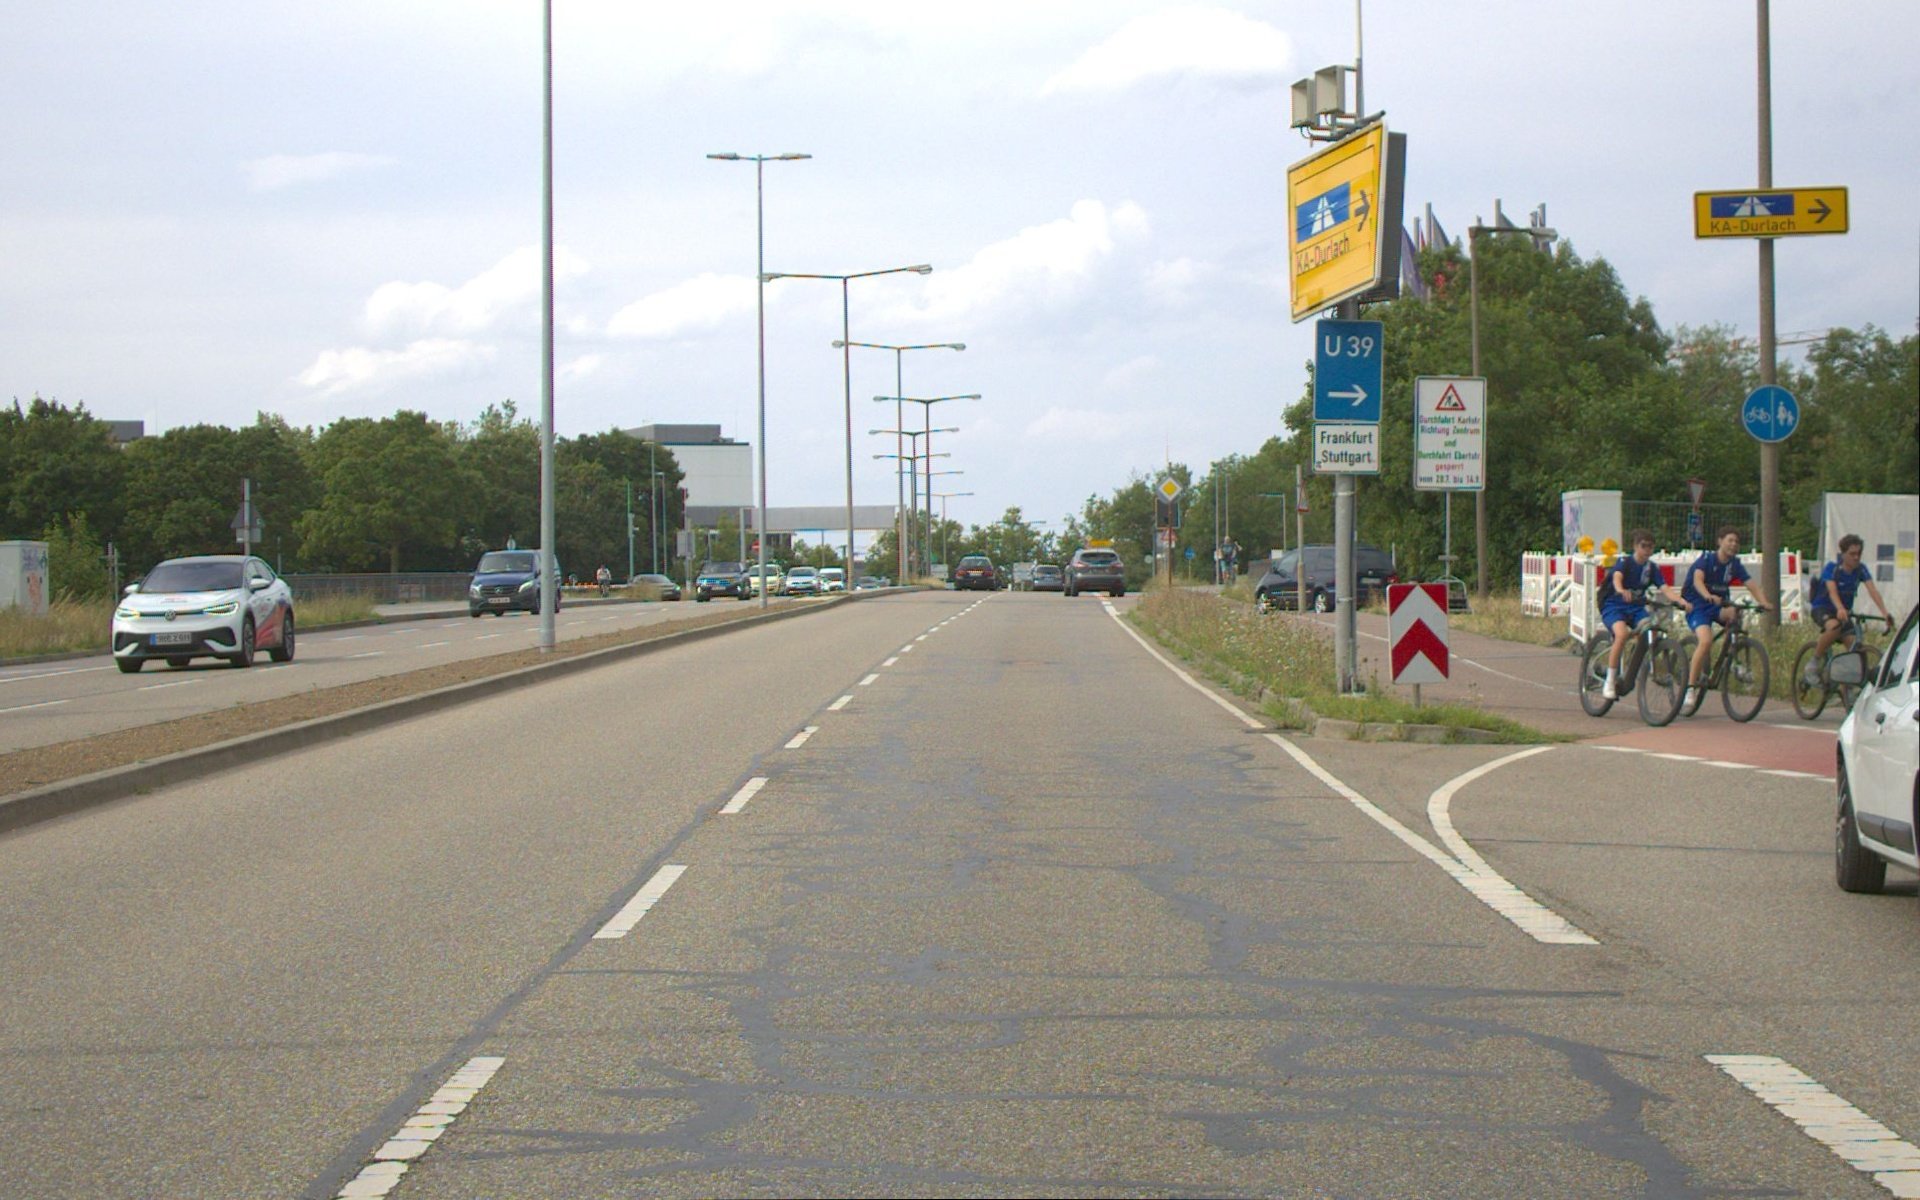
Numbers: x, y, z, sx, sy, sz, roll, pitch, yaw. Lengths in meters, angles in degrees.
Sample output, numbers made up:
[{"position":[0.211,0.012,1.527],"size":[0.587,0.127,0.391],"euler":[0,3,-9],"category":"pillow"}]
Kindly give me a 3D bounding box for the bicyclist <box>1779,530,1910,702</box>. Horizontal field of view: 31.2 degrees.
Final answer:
[{"position":[7.762,0.136,30.196],"size":[0.741,1.482,0.958],"euler":[1,0,-13],"category":"bicyclist"}]

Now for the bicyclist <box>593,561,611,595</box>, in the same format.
[{"position":[-16.961,-1.034,162.878],"size":[0.795,1.621,0.976],"euler":[0,0,-1],"category":"bicyclist"}]

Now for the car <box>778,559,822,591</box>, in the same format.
[{"position":[-7.947,-1.240,171.259],"size":[1.650,1.510,4.015],"euler":[-2,1,5],"category":"car"}]

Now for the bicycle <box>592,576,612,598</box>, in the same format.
[{"position":[-16.943,-0.621,162.894],"size":[0.706,1.046,2.060],"euler":[0,0,1],"category":"bicycle"}]

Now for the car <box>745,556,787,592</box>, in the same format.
[{"position":[-8.776,-1.195,155.822],"size":[1.549,1.572,3.690],"euler":[-2,1,1],"category":"car"}]

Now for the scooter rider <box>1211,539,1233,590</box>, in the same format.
[{"position":[8.817,-1.198,115.608],"size":[0.587,1.685,0.744],"euler":[1,0,-7],"category":"scooter rider"}]

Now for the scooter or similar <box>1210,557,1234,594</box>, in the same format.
[{"position":[8.822,-0.825,115.626],"size":[0.588,1.220,1.203],"euler":[1,0,-6],"category":"scooter or similar"}]

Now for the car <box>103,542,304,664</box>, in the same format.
[{"position":[-10.906,0.003,49.844],"size":[1.847,1.595,4.561],"euler":[-1,2,0],"category":"car"}]

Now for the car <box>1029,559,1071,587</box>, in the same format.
[{"position":[5.096,-1.513,194.916],"size":[1.730,1.521,4.116],"euler":[0,0,-8],"category":"car"}]

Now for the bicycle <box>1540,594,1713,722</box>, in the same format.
[{"position":[5.694,0.480,29.480],"size":[0.620,1.002,2.103],"euler":[2,1,-13],"category":"bicycle"}]

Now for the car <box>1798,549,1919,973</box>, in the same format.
[{"position":[4.578,0.577,13.964],"size":[1.848,1.497,3.999],"euler":[1,0,8],"category":"car"}]

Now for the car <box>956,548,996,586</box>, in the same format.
[{"position":[0.749,-1.518,159.687],"size":[1.730,1.647,4.114],"euler":[0,-1,2],"category":"car"}]

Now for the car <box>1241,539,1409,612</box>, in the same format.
[{"position":[8.622,-0.563,81.504],"size":[1.731,1.647,4.114],"euler":[1,-1,-34],"category":"car"}]

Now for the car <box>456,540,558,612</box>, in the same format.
[{"position":[-12.873,-0.697,97.959],"size":[1.847,1.887,5.504],"euler":[-3,1,2],"category":"car"}]

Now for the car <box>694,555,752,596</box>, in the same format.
[{"position":[-8.929,-0.938,129.604],"size":[1.763,1.436,4.177],"euler":[-2,1,1],"category":"car"}]

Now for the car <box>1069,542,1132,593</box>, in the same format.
[{"position":[4.751,-1.087,116.900],"size":[1.730,1.647,4.115],"euler":[0,-1,-3],"category":"car"}]

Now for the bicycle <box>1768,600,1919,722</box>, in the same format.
[{"position":[7.774,0.520,30.065],"size":[0.620,1.002,1.788],"euler":[-3,0,-13],"category":"bicycle"}]

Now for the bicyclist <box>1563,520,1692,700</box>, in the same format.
[{"position":[5.721,0.083,29.503],"size":[0.741,1.513,0.958],"euler":[1,0,-13],"category":"bicyclist"}]

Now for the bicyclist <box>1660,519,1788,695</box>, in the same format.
[{"position":[6.703,0.063,30.188],"size":[0.741,1.513,0.958],"euler":[1,0,-14],"category":"bicyclist"}]

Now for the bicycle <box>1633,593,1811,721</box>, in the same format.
[{"position":[6.612,0.478,29.963],"size":[0.595,1.033,2.196],"euler":[2,0,-13],"category":"bicycle"}]
